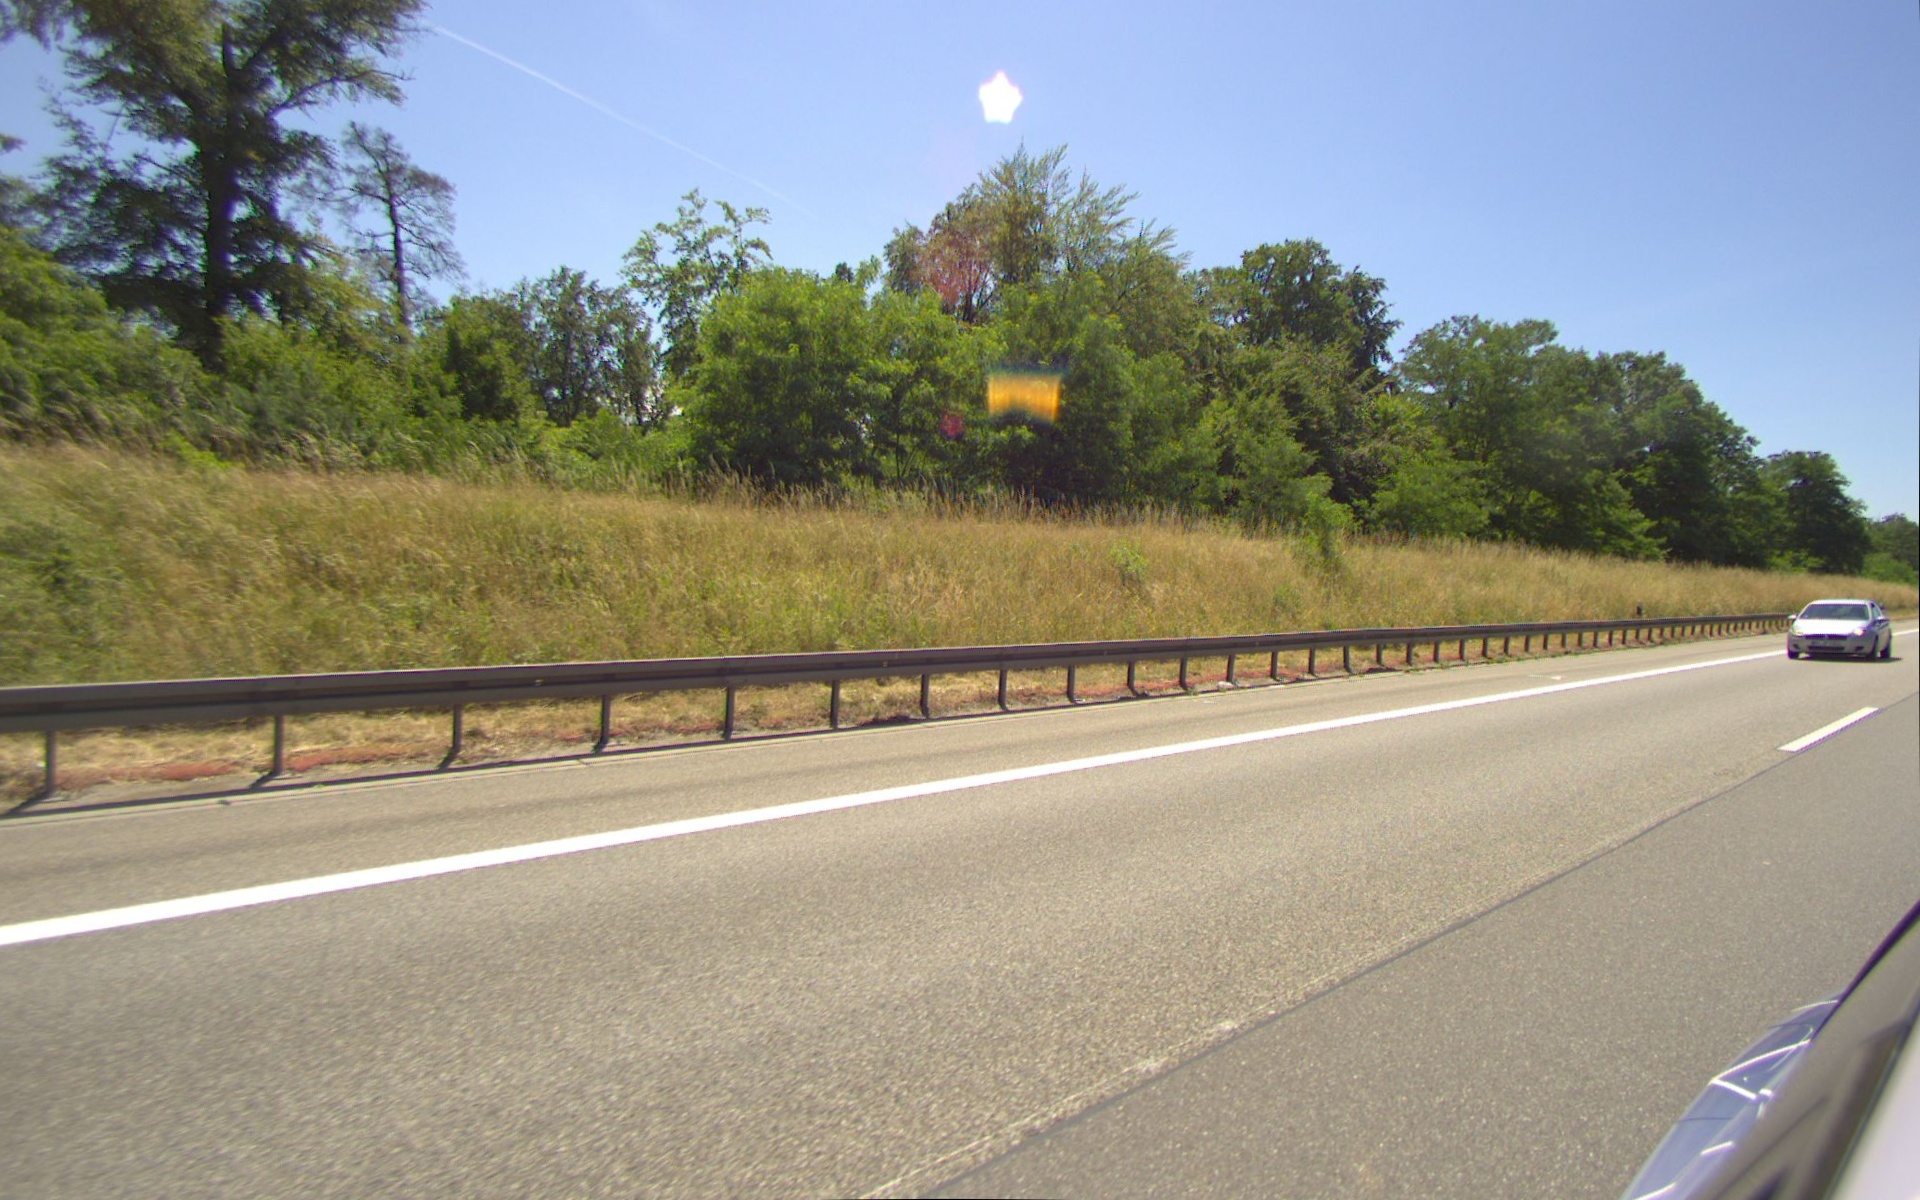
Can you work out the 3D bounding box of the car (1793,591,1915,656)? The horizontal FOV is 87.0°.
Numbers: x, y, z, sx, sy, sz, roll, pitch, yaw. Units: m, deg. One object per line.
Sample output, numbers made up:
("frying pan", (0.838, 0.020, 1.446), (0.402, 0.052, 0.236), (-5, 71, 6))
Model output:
("car", (22.345, 0.525, 25.252), (3.910, 1.484, 1.748), (0, 0, -40))
